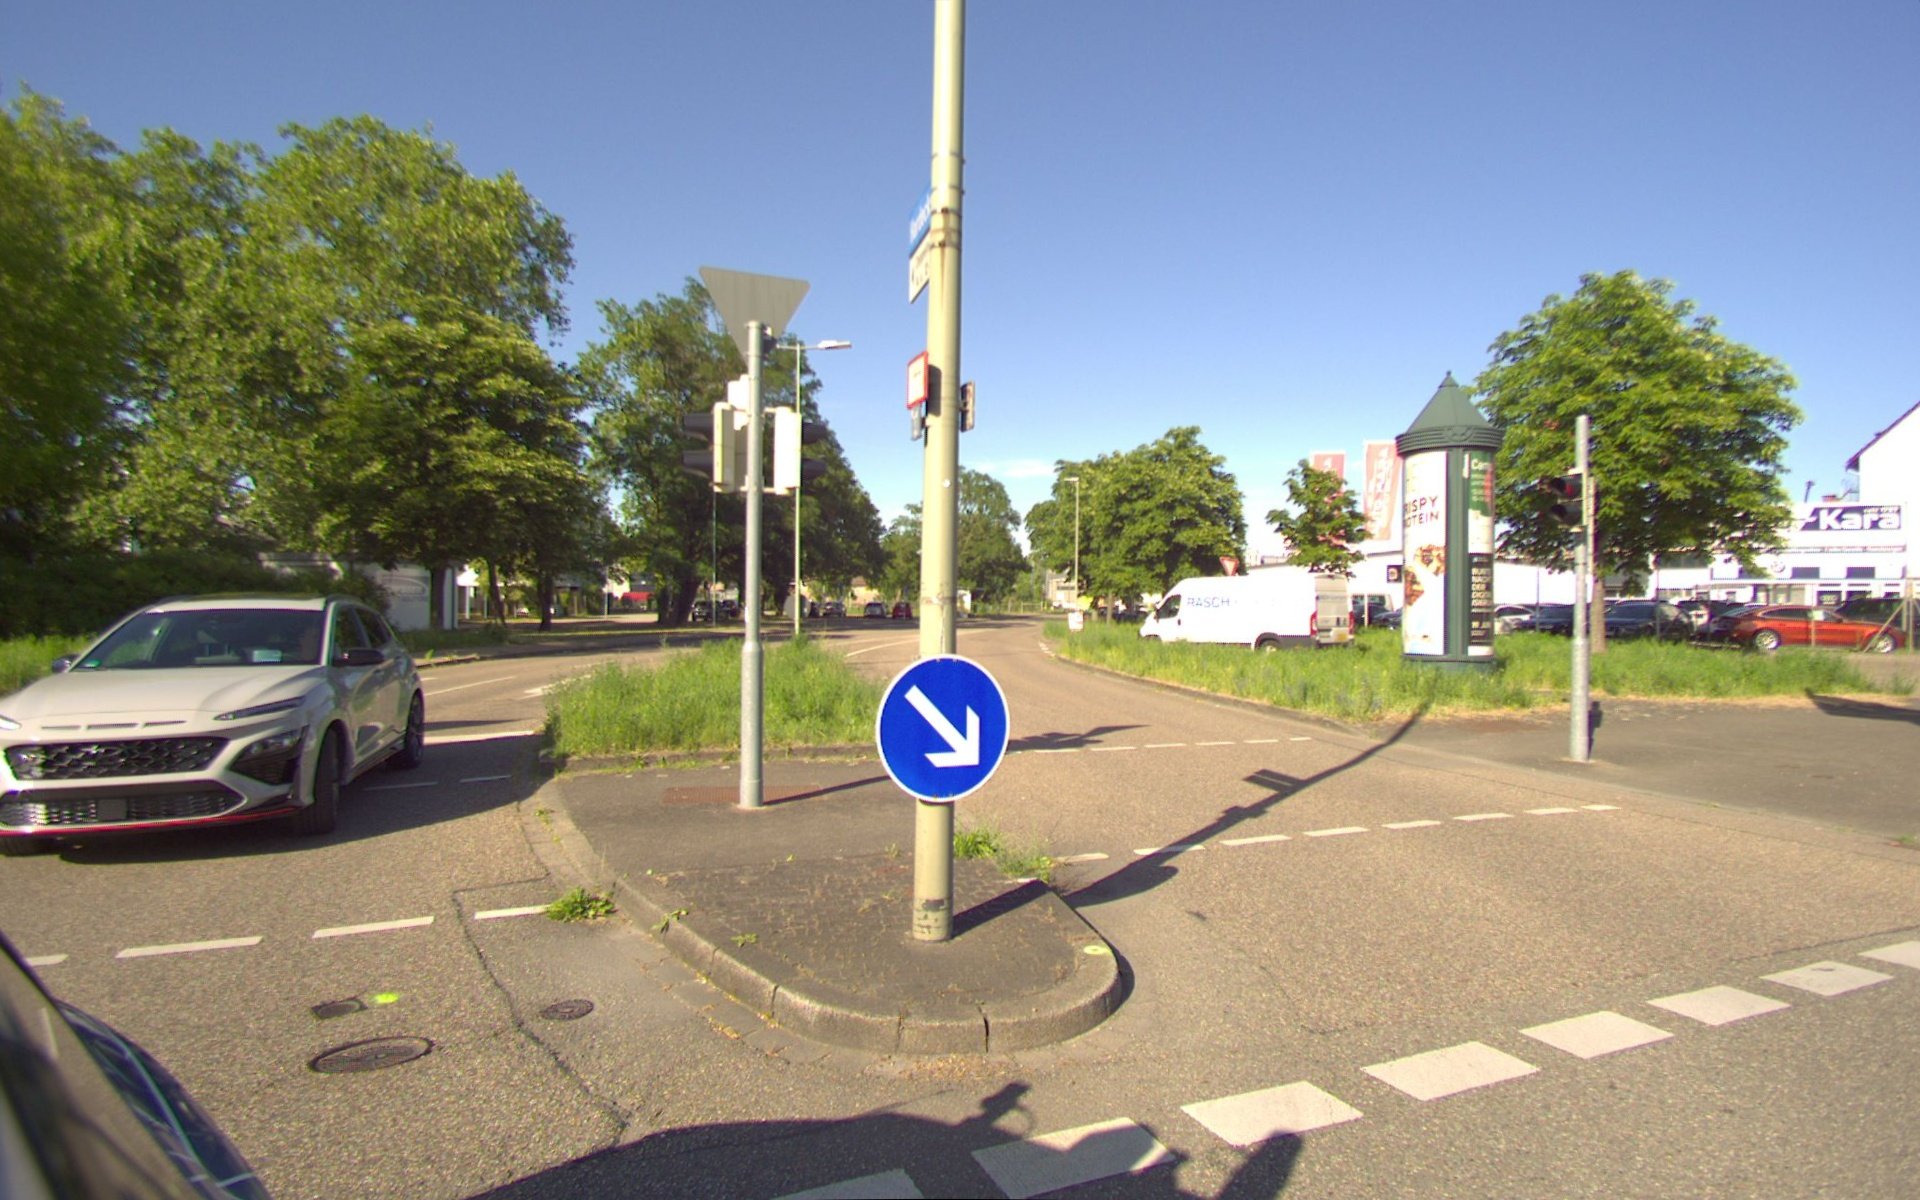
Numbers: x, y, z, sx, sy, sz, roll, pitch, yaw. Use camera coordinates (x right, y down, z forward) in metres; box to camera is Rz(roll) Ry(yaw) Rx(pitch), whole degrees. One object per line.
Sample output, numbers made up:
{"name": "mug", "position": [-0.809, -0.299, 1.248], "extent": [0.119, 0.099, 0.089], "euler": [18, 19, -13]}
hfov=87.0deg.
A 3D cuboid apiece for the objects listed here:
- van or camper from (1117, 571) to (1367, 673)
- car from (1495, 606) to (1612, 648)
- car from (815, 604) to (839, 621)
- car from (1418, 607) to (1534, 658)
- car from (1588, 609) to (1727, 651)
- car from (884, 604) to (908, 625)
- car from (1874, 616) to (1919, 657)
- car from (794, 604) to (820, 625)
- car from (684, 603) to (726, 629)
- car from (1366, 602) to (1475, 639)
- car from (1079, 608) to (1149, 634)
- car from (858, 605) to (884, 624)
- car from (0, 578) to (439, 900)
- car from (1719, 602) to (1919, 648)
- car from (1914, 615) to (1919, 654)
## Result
{"name": "van or camper", "position": [7.949, 0.663, 29.257], "extent": [2.566, 2.603, 6.619], "euler": [2, -2, -42]}
{"name": "car", "position": [21.662, 0.969, 36.919], "extent": [3.930, 1.473, 1.751], "euler": [1, -1, -25]}
{"name": "car", "position": [-12.125, 1.159, 92.415], "extent": [1.845, 1.451, 3.485], "euler": [2, 0, -2]}
{"name": "car", "position": [19.976, 1.224, 39.190], "extent": [3.930, 1.901, 2.007], "euler": [1, -1, -25]}
{"name": "car", "position": [26.582, 1.107, 38.730], "extent": [1.801, 1.517, 4.013], "euler": [0, -1, -25]}
{"name": "car", "position": [-5.437, 1.189, 86.403], "extent": [1.971, 1.678, 4.002], "euler": [2, 0, -2]}
{"name": "car", "position": [31.337, 1.155, 31.716], "extent": [3.930, 1.250, 2.016], "euler": [0, 0, 41]}
{"name": "car", "position": [-13.031, 1.200, 86.154], "extent": [1.713, 1.631, 4.002], "euler": [2, 0, -2]}
{"name": "car", "position": [-18.317, 1.143, 72.868], "extent": [1.983, 1.809, 3.998], "euler": [0, 0, 2]}
{"name": "car", "position": [18.903, 0.848, 41.533], "extent": [3.930, 1.452, 2.007], "euler": [1, -1, -25]}
{"name": "car", "position": [9.231, 1.264, 60.918], "extent": [3.945, 1.541, 1.928], "euler": [0, -1, 1]}
{"name": "car", "position": [-7.609, 1.243, 87.147], "extent": [1.971, 1.461, 4.002], "euler": [2, 0, -2]}
{"name": "car", "position": [-5.114, 0.689, 7.280], "extent": [1.687, 1.658, 4.067], "euler": [1, 1, -17]}
{"name": "car", "position": [26.713, 0.745, 31.117], "extent": [5.036, 1.320, 2.339], "euler": [0, 0, 28]}
{"name": "car", "position": [33.866, 1.146, 32.958], "extent": [3.930, 1.250, 2.016], "euler": [0, 0, 41]}
